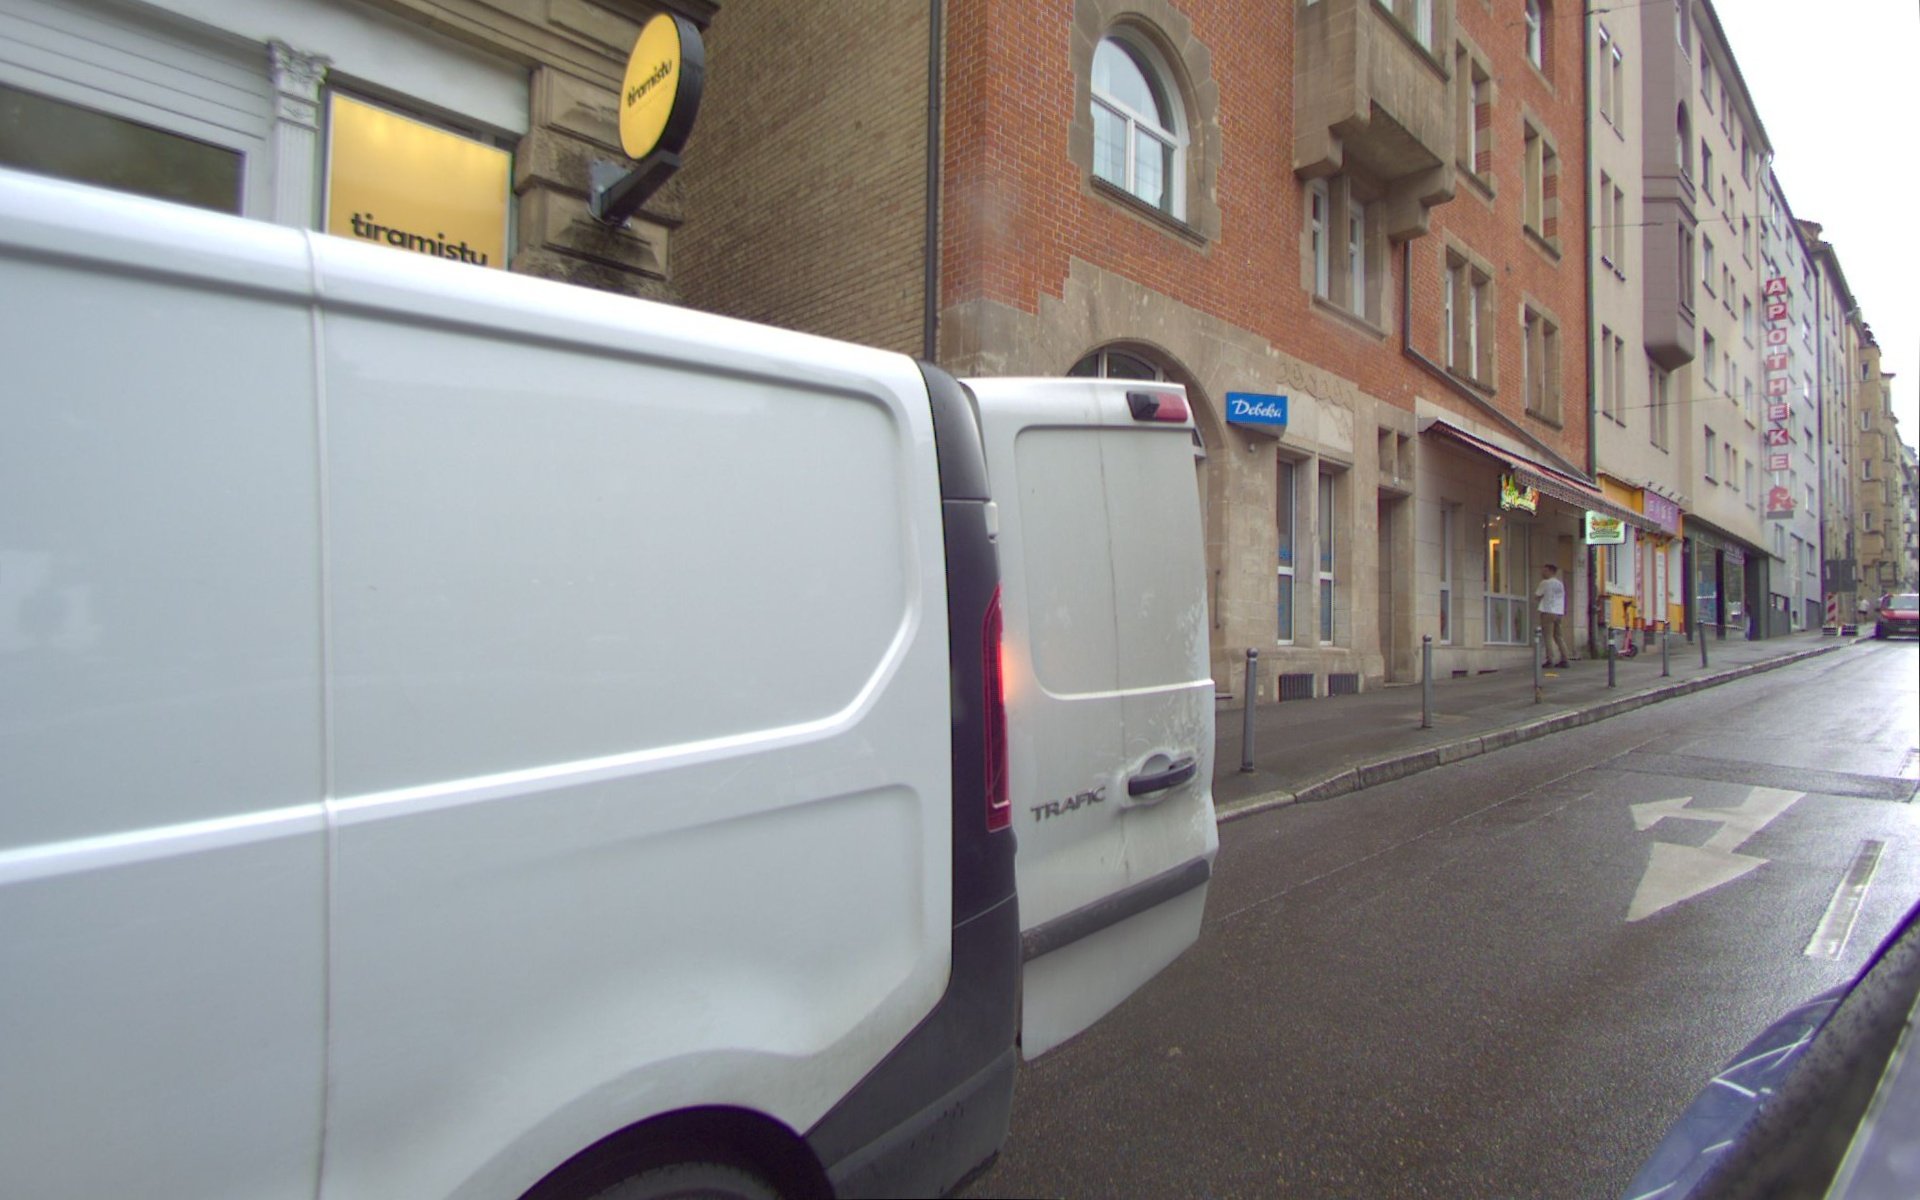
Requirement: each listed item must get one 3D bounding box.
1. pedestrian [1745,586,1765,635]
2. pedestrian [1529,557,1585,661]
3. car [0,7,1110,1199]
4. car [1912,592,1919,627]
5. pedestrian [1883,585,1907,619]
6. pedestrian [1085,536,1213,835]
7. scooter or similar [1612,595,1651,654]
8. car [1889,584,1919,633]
[{"bbox_3d":[27.695,0.367,35.256,0.479,1.666,0.327,-2,-2,35],"label":"pedestrian"},{"bbox_3d":[10.828,0.150,18.373,0.567,1.852,0.565,1,2,-10],"label":"pedestrian"},{"bbox_3d":[-2.033,0.435,1.185,4.606,1.960,1.923,0,0,-43],"label":"car"},{"bbox_3d":[49.925,0.480,51.558,4.423,1.730,1.767,1,-1,-43],"label":"car"},{"bbox_3d":[50.052,0.099,54.191,0.823,1.780,0.852,1,-2,-43],"label":"pedestrian"},{"bbox_3d":[1.233,0.500,6.510,0.678,1.776,0.831,0,0,20],"label":"pedestrian"},{"bbox_3d":[14.387,0.516,21.675,1.171,1.237,0.258,1,-2,-34],"label":"scooter or similar"},{"bbox_3d":[38.634,0.312,40.509,1.975,1.861,5.161,0,0,44],"label":"car"}]
